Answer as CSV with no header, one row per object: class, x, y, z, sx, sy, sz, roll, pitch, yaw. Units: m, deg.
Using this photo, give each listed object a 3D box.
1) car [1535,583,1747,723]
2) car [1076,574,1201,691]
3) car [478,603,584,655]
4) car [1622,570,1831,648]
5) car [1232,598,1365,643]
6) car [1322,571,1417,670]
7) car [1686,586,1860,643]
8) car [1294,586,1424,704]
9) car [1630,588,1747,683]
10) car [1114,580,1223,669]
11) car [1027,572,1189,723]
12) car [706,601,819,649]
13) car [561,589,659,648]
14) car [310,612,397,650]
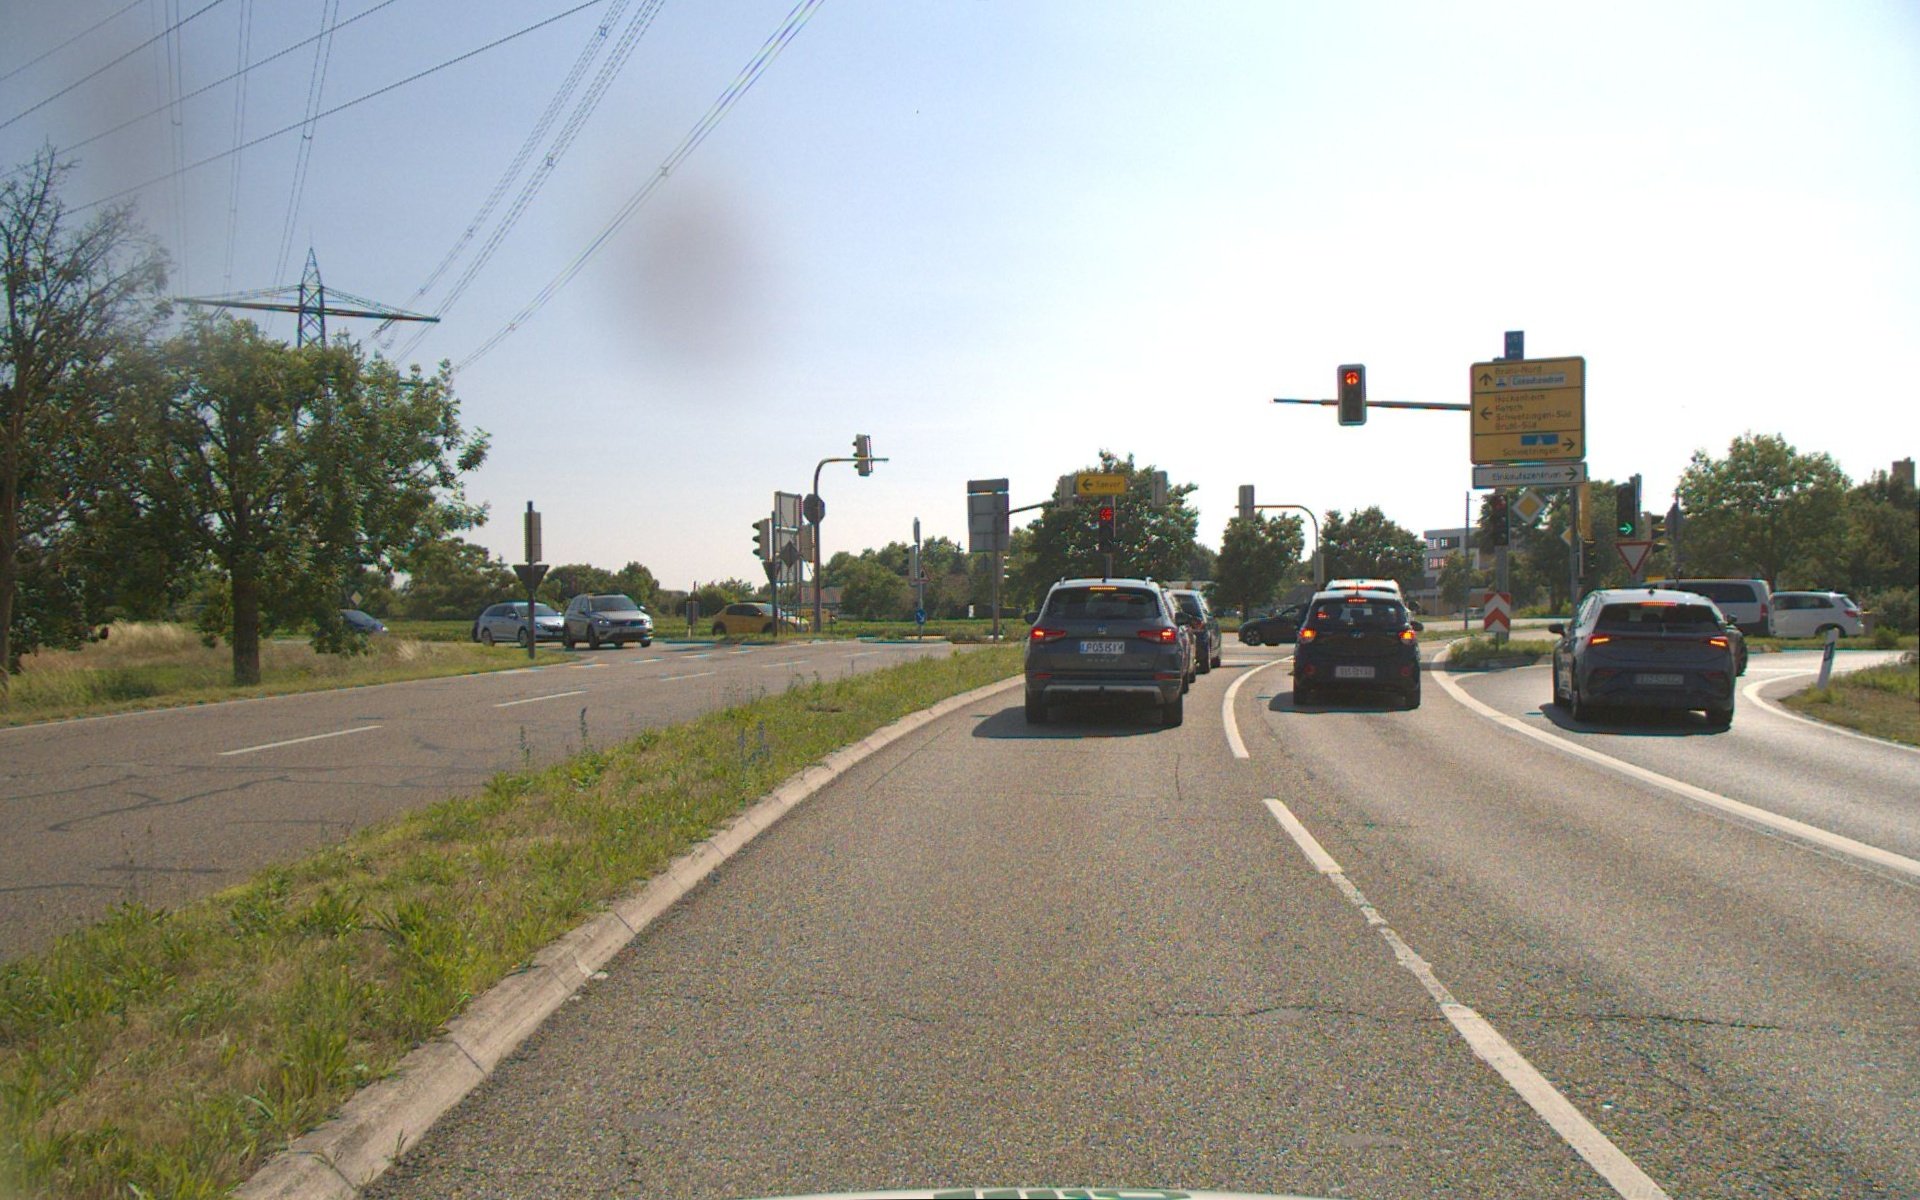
car,8.347,0.577,20.611,1.735,1.544,4.103,-1,1,12
car,2.710,0.451,24.825,1.705,1.596,3.627,1,0,7
car,-14.433,0.949,55.517,1.806,1.680,3.937,0,0,-43
car,20.474,0.188,44.243,4.843,1.951,1.995,1,1,33
car,11.224,0.663,54.944,4.018,1.441,1.711,0,0,34
car,7.584,0.360,30.739,1.598,1.706,3.752,1,0,13
car,22.858,0.413,46.537,4.244,1.545,1.803,-1,0,33
car,5.470,0.562,22.743,1.598,1.473,3.297,1,0,13
car,12.070,0.534,27.289,1.609,1.410,3.997,-1,1,26
car,3.935,0.430,30.754,1.705,1.510,3.627,1,0,12
car,1.765,0.501,19.342,1.705,1.596,3.627,0,0,6
car,-7.254,0.908,60.572,3.918,1.680,1.814,-1,0,35
car,-10.602,0.547,49.911,1.795,1.680,3.960,0,0,-30
car,-27.537,1.388,75.115,3.918,1.680,1.814,-1,0,35
